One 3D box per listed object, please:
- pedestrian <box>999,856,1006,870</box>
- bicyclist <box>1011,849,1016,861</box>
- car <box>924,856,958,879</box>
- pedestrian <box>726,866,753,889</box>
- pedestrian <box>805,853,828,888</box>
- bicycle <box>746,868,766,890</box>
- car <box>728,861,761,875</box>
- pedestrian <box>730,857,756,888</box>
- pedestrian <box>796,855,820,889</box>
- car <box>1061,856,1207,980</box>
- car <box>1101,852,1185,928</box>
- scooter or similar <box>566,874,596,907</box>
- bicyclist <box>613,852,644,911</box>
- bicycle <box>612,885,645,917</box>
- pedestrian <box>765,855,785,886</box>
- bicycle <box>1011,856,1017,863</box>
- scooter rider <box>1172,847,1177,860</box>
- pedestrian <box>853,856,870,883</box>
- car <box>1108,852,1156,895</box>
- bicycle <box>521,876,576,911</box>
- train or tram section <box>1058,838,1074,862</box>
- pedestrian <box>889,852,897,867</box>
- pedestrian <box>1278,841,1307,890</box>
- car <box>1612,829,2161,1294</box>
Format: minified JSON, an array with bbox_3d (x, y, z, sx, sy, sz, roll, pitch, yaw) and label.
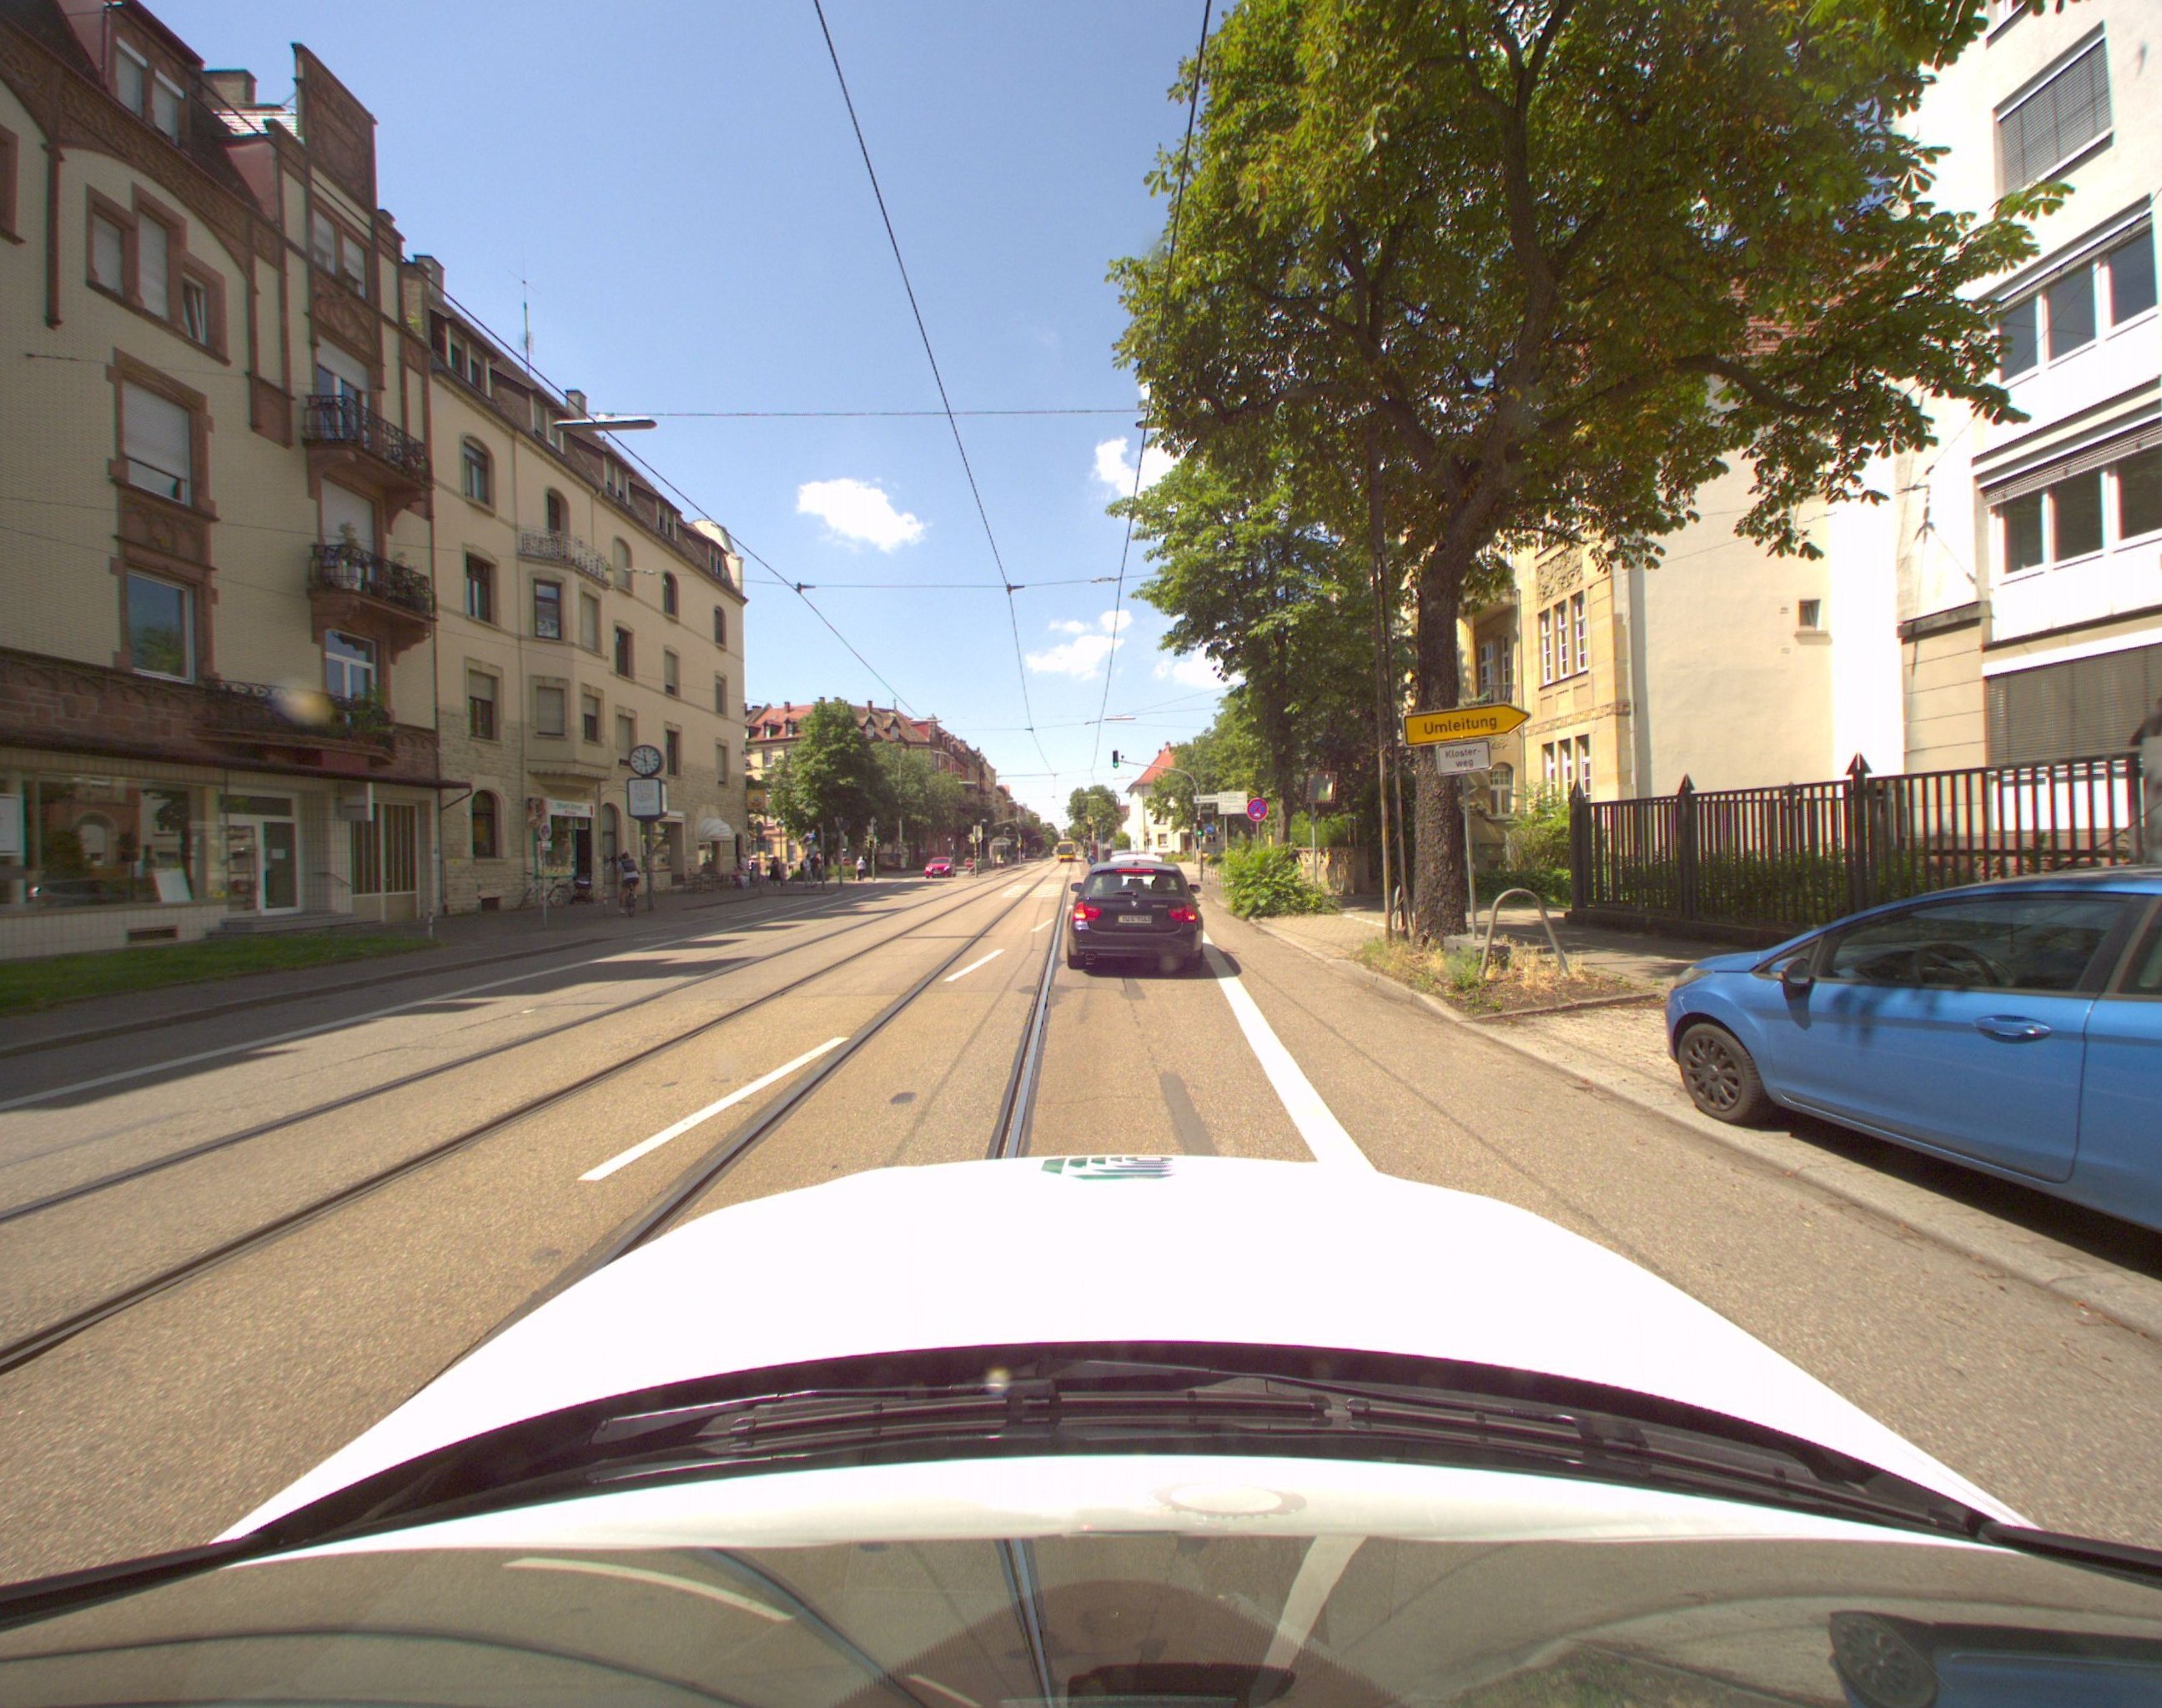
[{"bbox_3d":[-7.319,0.851,75.817,0.613,1.243,0.626,-1,0,-6],"label":"pedestrian"},{"bbox_3d":[-10.088,0.142,122.106,0.721,1.870,0.824,-2,0,-4],"label":"bicyclist"},{"bbox_3d":[-9.903,0.932,57.888,1.818,1.413,4.425,-3,0,-3],"label":"car"},{"bbox_3d":[-16.914,1.169,40.373,0.912,1.077,0.883,-2,0,0],"label":"pedestrian"},{"bbox_3d":[-14.885,0.903,45.808,0.898,1.891,1.164,-1,0,-1],"label":"pedestrian"},{"bbox_3d":[-17.528,1.331,43.877,0.547,1.128,1.663,-1,-2,-38],"label":"bicycle"},{"bbox_3d":[-39.585,1.652,95.804,3.428,1.471,1.694,-2,0,24],"label":"car"},{"bbox_3d":[-17.460,0.944,42.109,0.912,1.594,0.810,-2,0,4],"label":"pedestrian"},{"bbox_3d":[-13.970,0.904,41.619,0.852,1.732,0.780,0,0,24],"label":"pedestrian"},{"bbox_3d":[0.819,0.764,11.957,1.714,1.409,4.571,1,0,5],"label":"car"},{"bbox_3d":[1.330,0.736,18.546,1.679,1.484,3.686,-2,0,2],"label":"car"},{"bbox_3d":[-16.887,1.217,27.500,0.700,1.044,1.195,0,-1,-41],"label":"scooter or similar"},{"bbox_3d":[-13.145,0.777,23.626,0.761,1.663,0.823,0,-1,-31],"label":"bicyclist"},{"bbox_3d":[-13.142,1.350,23.631,0.757,0.817,1.802,-2,0,-31],"label":"bicycle"},{"bbox_3d":[-16.785,0.913,44.654,0.865,1.635,1.017,-2,0,-27],"label":"pedestrian"},{"bbox_3d":[-10.058,0.845,122.012,0.726,1.101,1.715,-2,0,-1],"label":"bicycle"},{"bbox_3d":[11.991,-0.037,104.389,0.589,1.687,0.527,-2,0,-6],"label":"scooter rider"},{"bbox_3d":[-14.449,1.003,53.545,0.920,1.723,0.834,-2,0,-22],"label":"pedestrian"},{"bbox_3d":[1.901,0.693,30.841,1.684,1.514,3.824,0,0,3],"label":"car"},{"bbox_3d":[-16.668,1.216,25.511,0.366,1.066,1.473,-1,-1,23],"label":"bicycle"},{"bbox_3d":[-2.279,-0.658,123.874,2.184,3.482,8.842,-2,0,-1],"label":"train or tram section"},{"bbox_3d":[-23.048,0.718,99.817,0.744,1.811,0.633,-2,0,-38],"label":"pedestrian"},{"bbox_3d":[7.365,0.391,28.391,0.852,1.645,0.838,-2,0,8],"label":"pedestrian"},{"bbox_3d":[4.408,0.685,3.488,1.673,1.443,3.719,-6,0,-1],"label":"car"}]
